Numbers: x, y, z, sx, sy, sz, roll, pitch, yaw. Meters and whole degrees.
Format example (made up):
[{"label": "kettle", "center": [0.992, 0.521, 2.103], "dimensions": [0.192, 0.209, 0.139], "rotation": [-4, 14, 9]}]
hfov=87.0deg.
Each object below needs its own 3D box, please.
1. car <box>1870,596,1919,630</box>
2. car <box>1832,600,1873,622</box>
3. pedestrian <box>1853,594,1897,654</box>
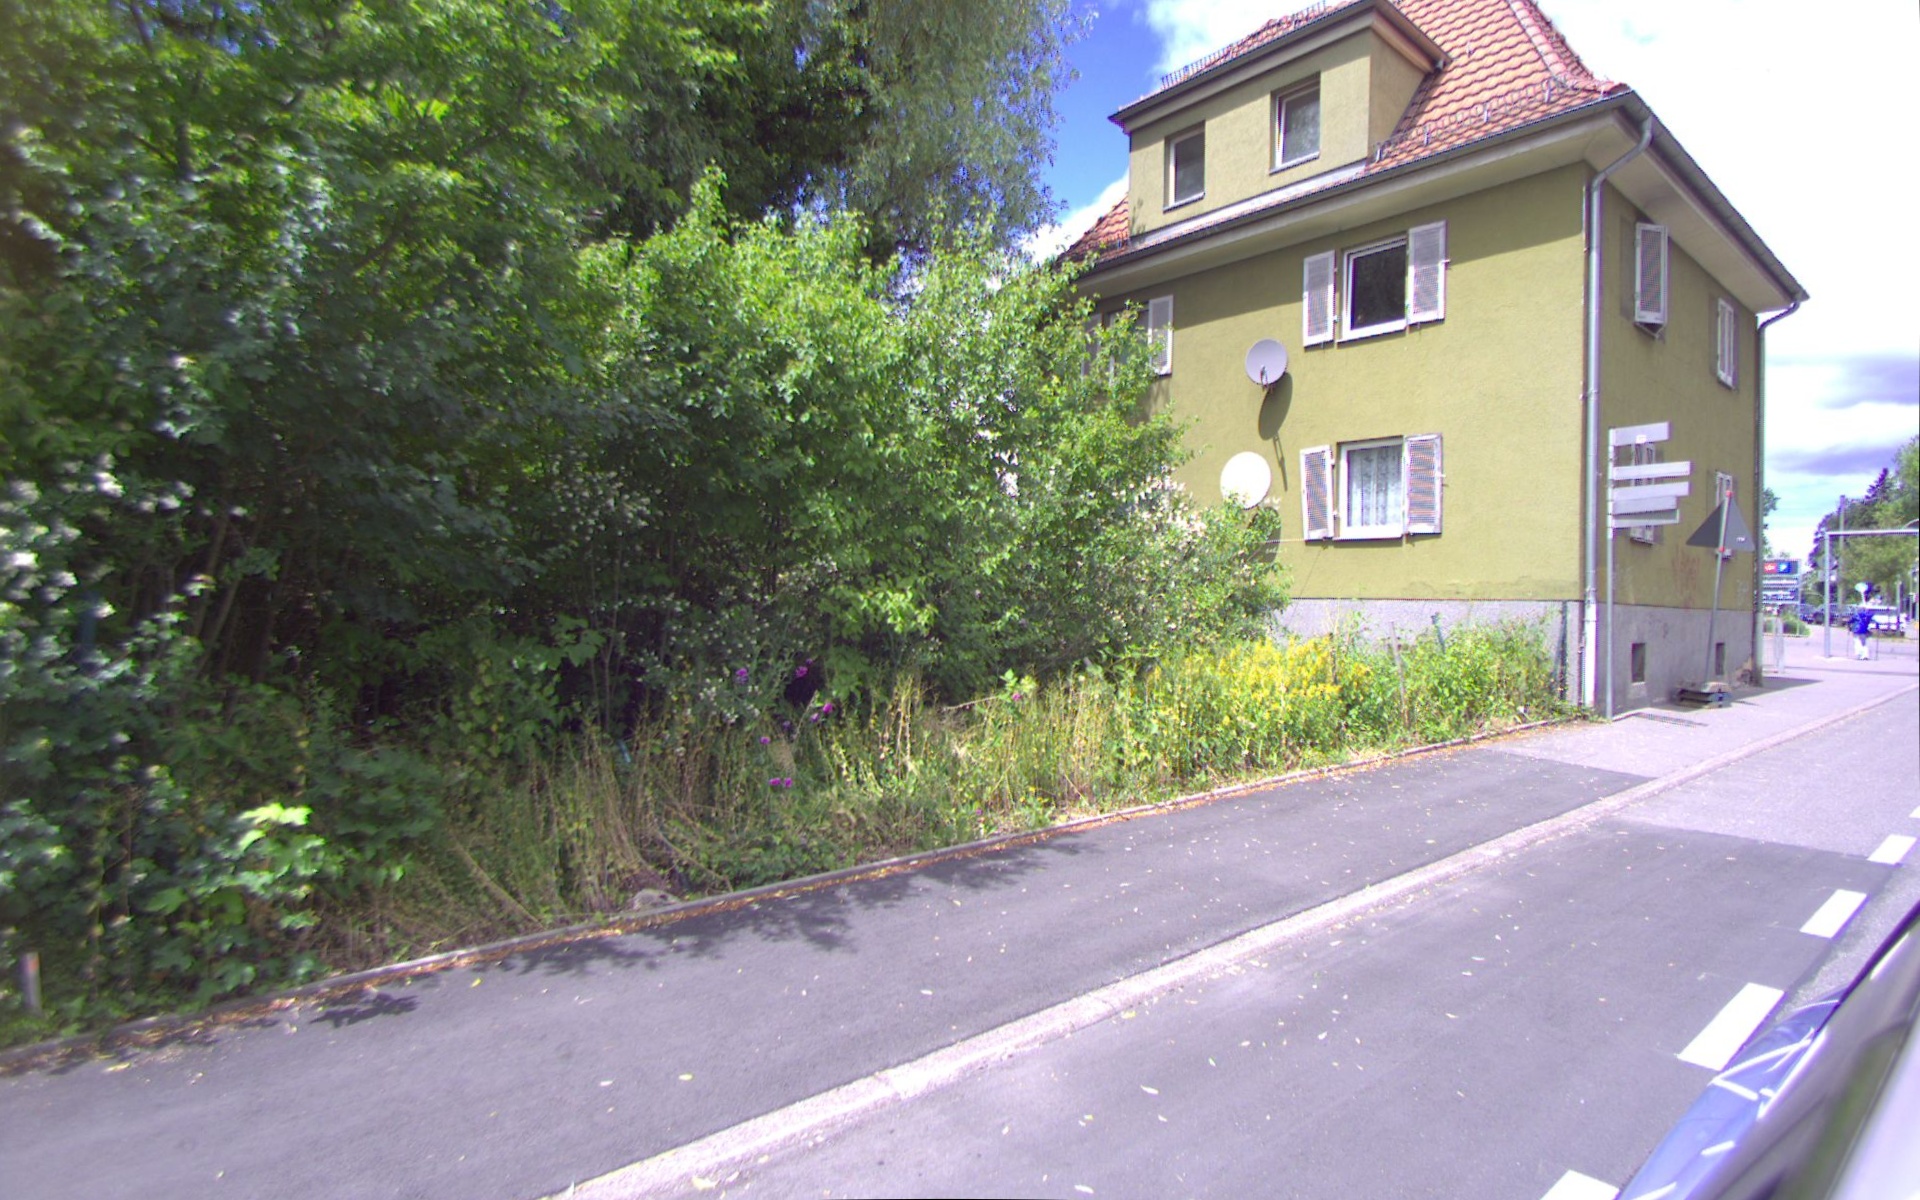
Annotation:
[{"label": "car", "center": [47.476, 0.638, 51.315], "dimensions": [1.788, 1.549, 3.864], "rotation": [4, 2, 40]}, {"label": "car", "center": [64.965, 0.772, 73.687], "dimensions": [1.694, 1.551, 3.951], "rotation": [-1, -1, 34]}, {"label": "pedestrian", "center": [25.454, 0.650, 28.152], "dimensions": [0.824, 1.592, 0.972], "rotation": [2, 1, 45]}]
